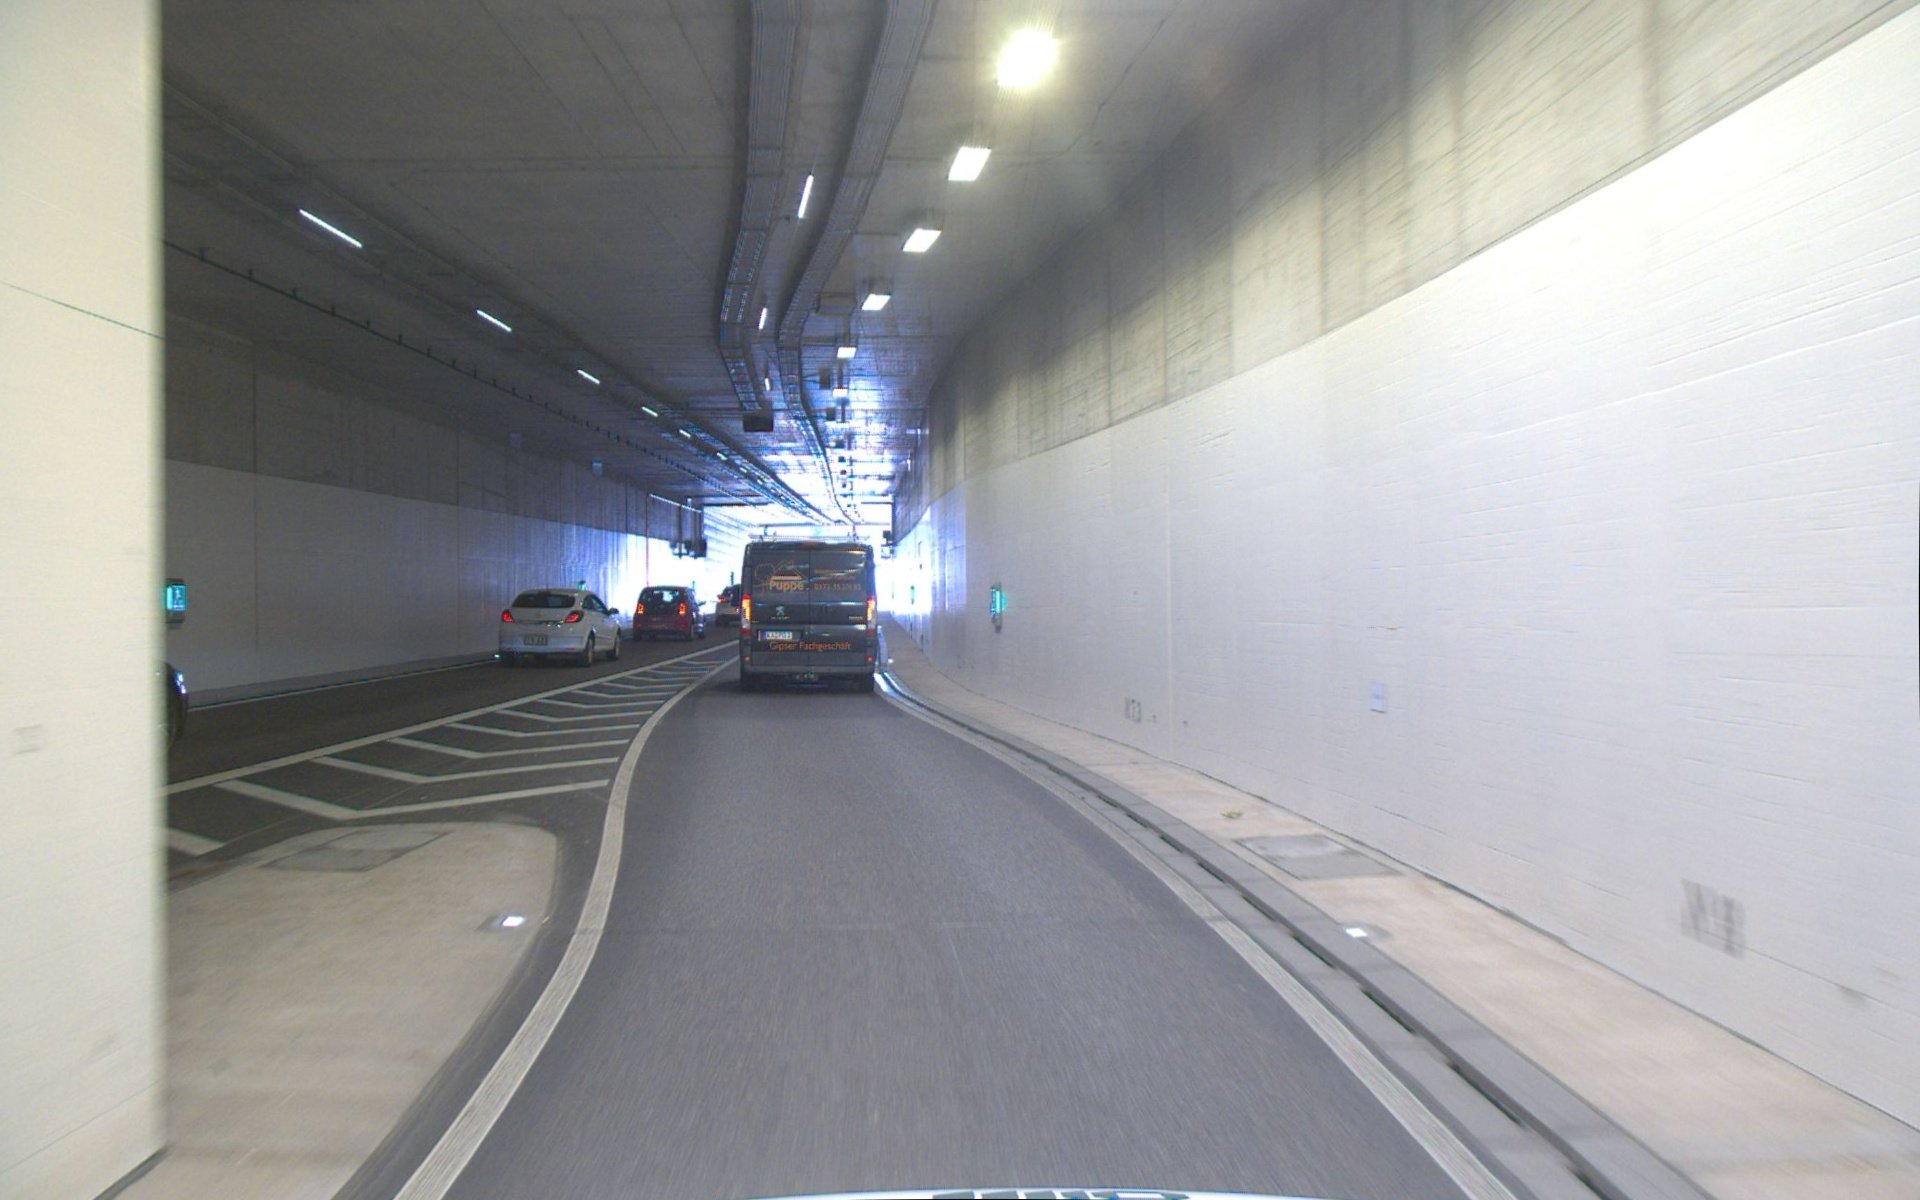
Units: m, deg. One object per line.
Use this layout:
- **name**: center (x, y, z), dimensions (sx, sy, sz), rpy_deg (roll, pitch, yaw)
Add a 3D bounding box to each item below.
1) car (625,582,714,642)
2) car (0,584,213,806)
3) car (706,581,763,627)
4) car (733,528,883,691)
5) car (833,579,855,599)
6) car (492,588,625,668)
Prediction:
- **car**: center (-8.028, 0.288, 46.010), dimensions (1.778, 1.538, 4.220), rpy_deg (1, 1, -1)
- **car**: center (-7.285, 0.634, 11.835), dimensions (1.661, 1.447, 4.851), rpy_deg (1, 1, 0)
- **car**: center (-8.226, 0.163, 60.613), dimensions (1.840, 1.609, 4.216), rpy_deg (1, -1, -5)
- **car**: center (-2.427, 0.140, 25.876), dimensions (2.117, 2.305, 4.629), rpy_deg (1, 0, -7)
- **car**: center (-10.021, -0.915, 142.445), dimensions (1.840, 1.653, 4.216), rpy_deg (1, -1, -5)
- **car**: center (-7.679, 0.498, 31.956), dimensions (1.674, 1.438, 3.973), rpy_deg (0, 1, -1)
